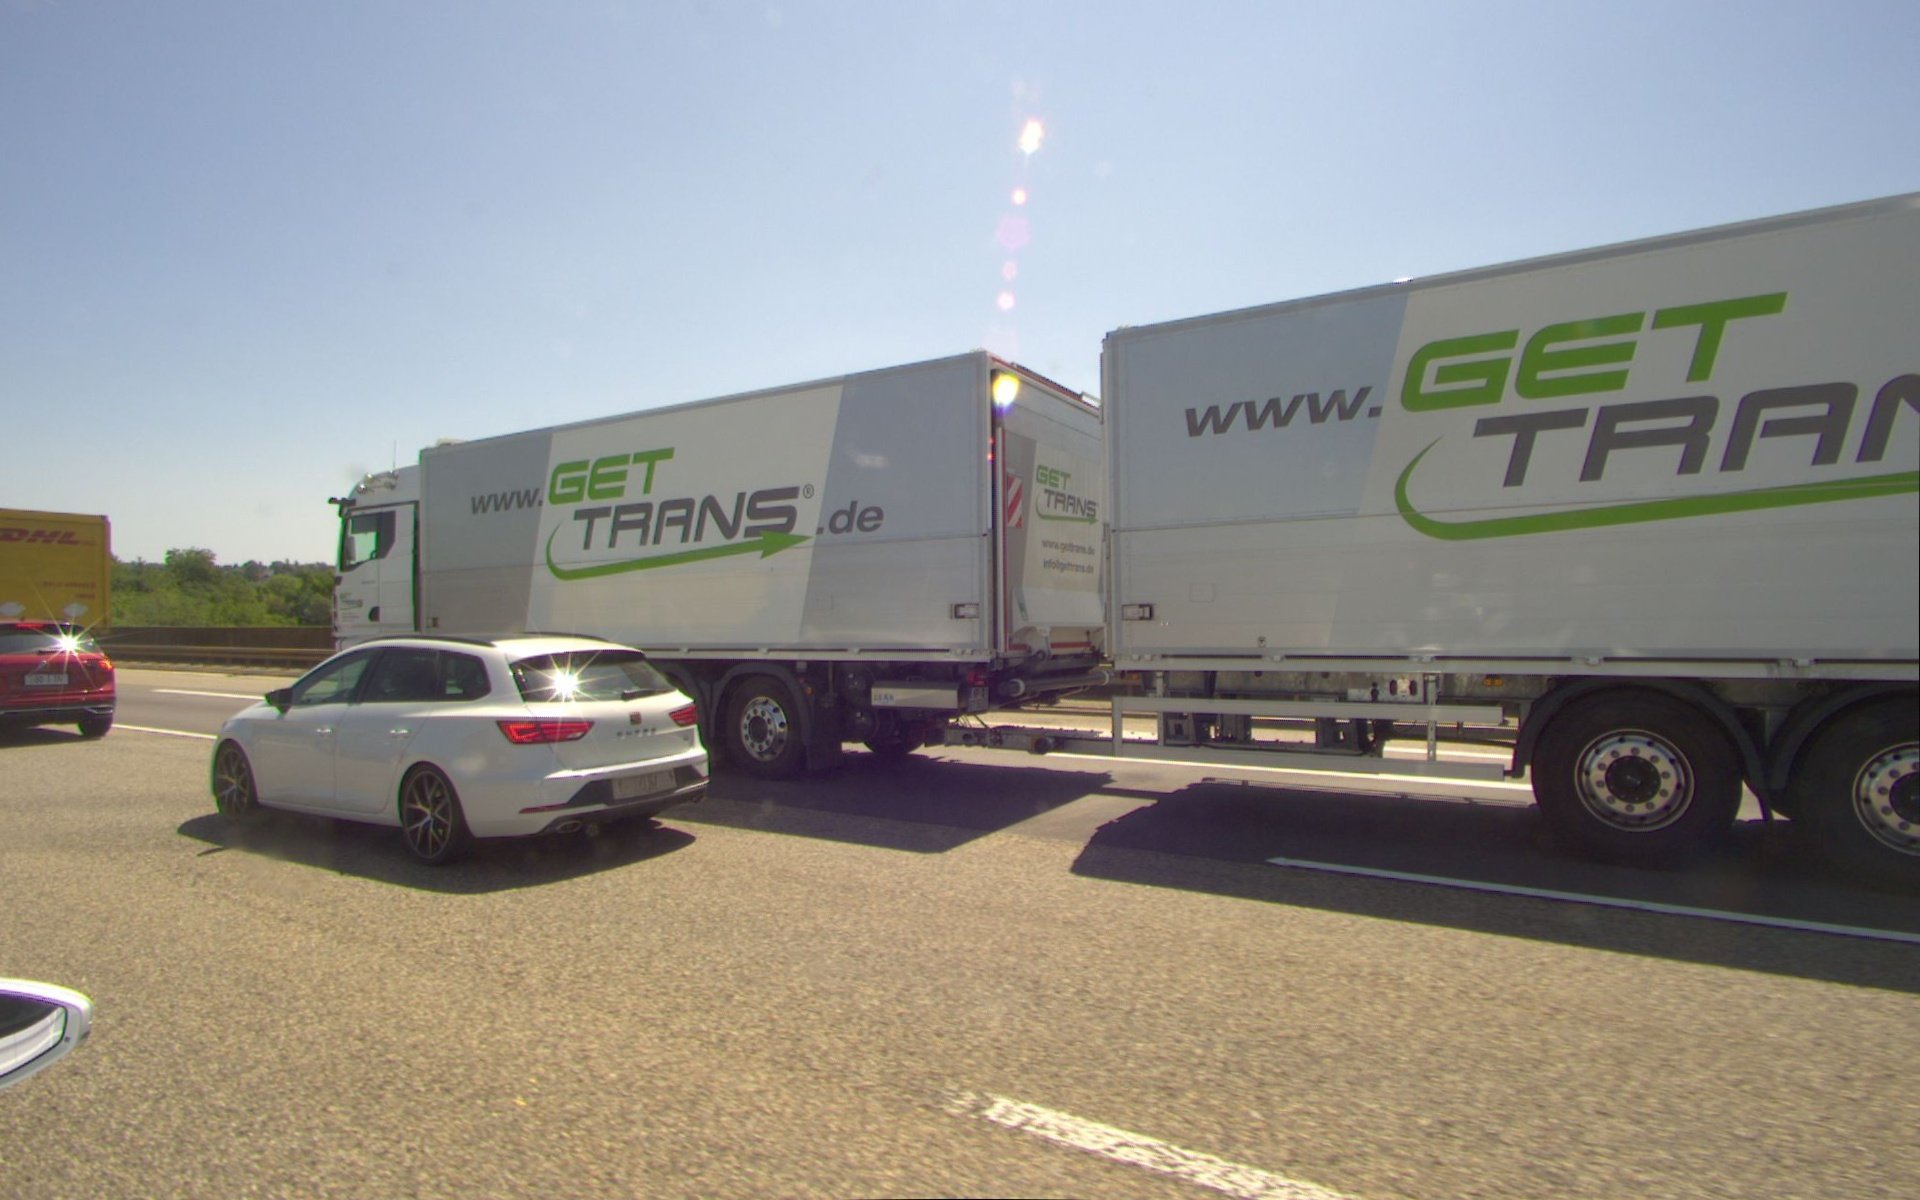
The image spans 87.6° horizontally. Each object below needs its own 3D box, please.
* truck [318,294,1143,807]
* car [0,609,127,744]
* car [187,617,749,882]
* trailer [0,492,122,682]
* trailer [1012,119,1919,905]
[{"bbox_3d":[-3.324,-0.234,11.741,10.457,3.984,2.847,-1,-2,32],"label":"truck"},{"bbox_3d":[-13.684,0.989,14.077,4.221,1.700,1.706,0,-2,30],"label":"car"},{"bbox_3d":[-3.780,0.878,7.462,4.364,1.470,1.706,0,-1,32],"label":"car"},{"bbox_3d":[-24.310,-0.170,24.813,8.849,4.140,2.679,-1,-2,31],"label":"trailer"},{"bbox_3d":[4.593,-0.382,6.865,8.096,3.941,2.894,-1,-2,32],"label":"trailer"}]
